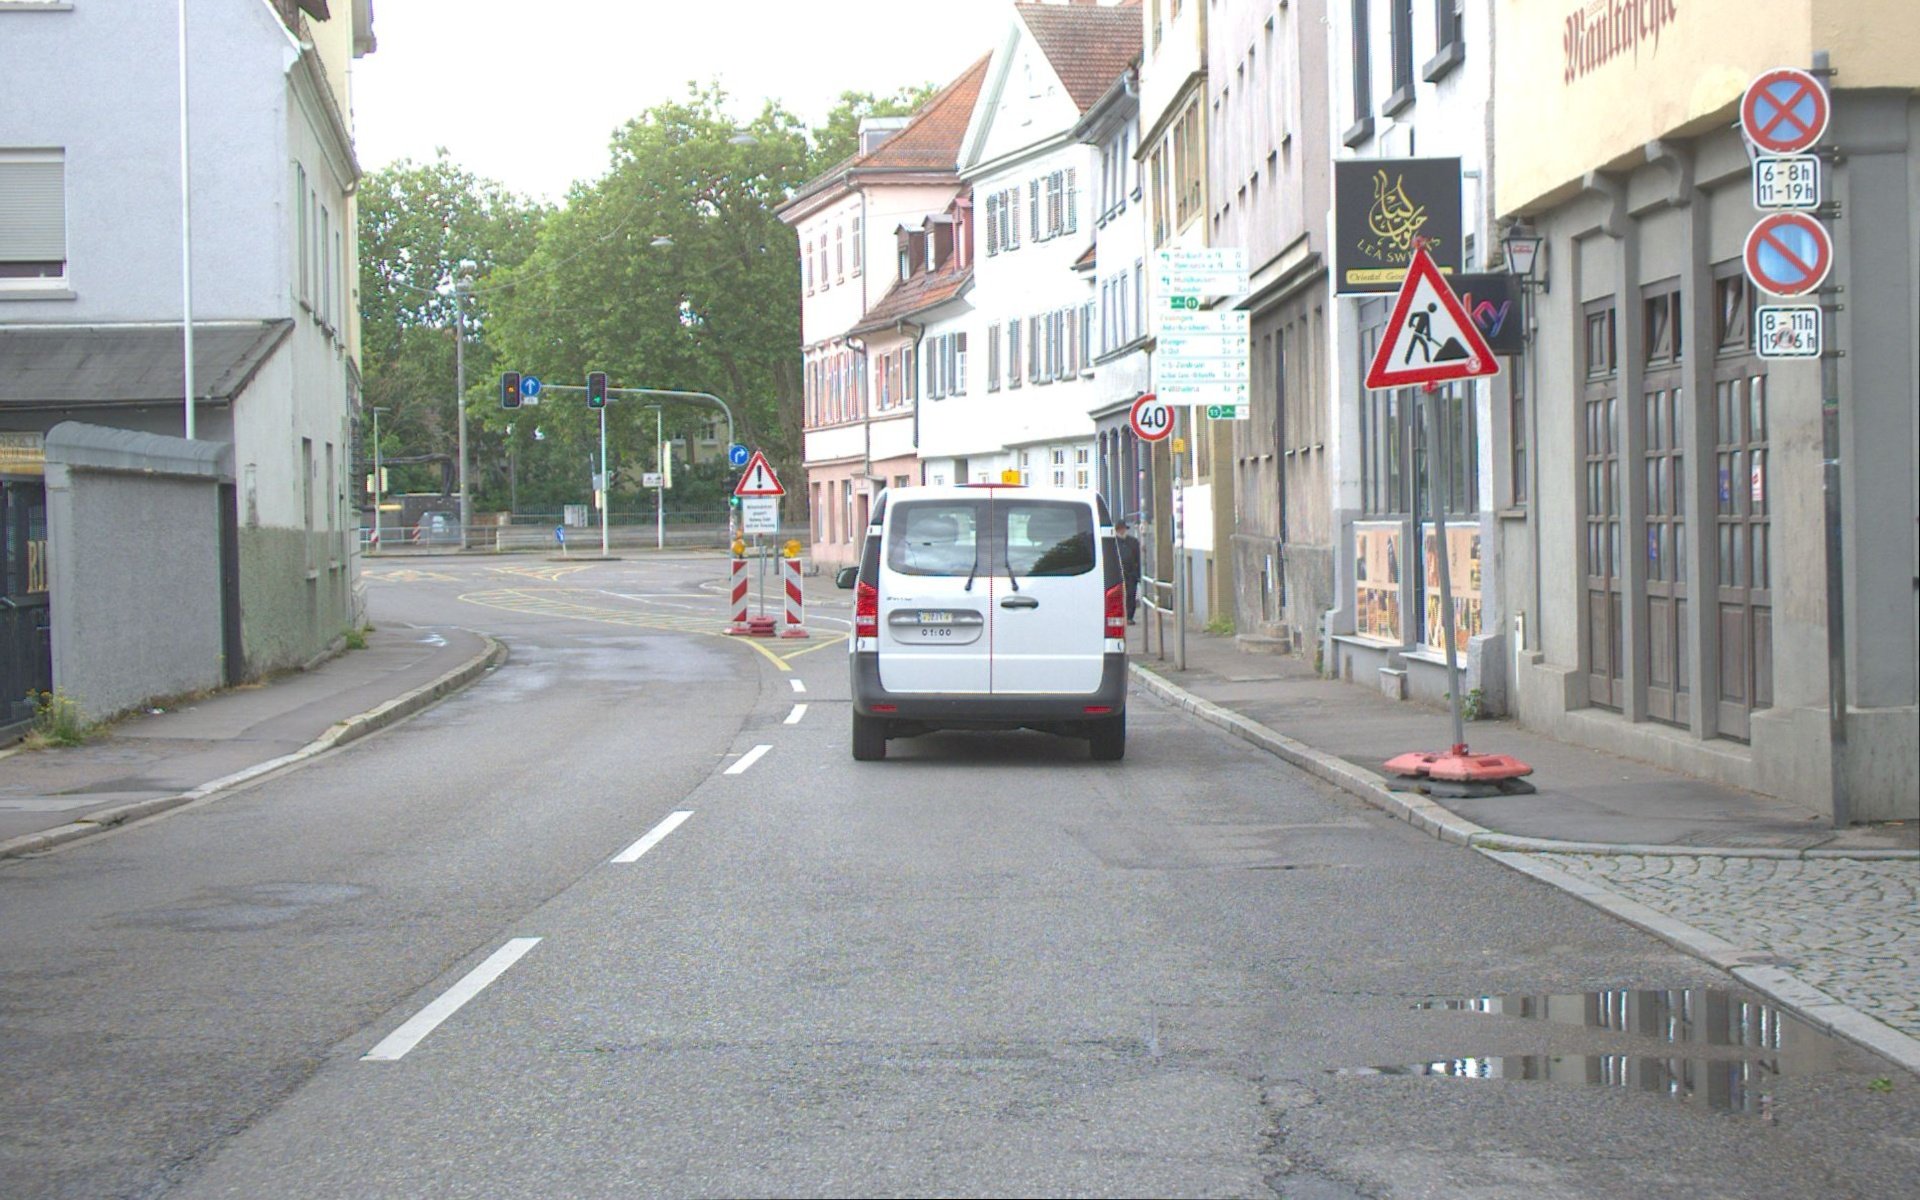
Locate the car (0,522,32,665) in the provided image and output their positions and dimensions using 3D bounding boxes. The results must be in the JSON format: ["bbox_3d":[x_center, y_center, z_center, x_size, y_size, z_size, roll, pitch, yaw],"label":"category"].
[{"bbox_3d":[-10.167,-0.044,34.337,1.645,1.349,4.001,-1,0,-14],"label":"car"}]

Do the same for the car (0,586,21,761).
[{"bbox_3d":[-8.615,0.590,28.200,1.645,1.349,4.001,-1,0,-14],"label":"car"}]

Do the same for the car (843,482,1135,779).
[{"bbox_3d":[0.136,0.186,24.556,1.872,1.905,4.000,-1,0,-1],"label":"car"}]

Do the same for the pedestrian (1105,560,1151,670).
[{"bbox_3d":[2.664,0.241,54.630,0.643,1.741,0.562,-1,0,-4],"label":"pedestrian"}]
